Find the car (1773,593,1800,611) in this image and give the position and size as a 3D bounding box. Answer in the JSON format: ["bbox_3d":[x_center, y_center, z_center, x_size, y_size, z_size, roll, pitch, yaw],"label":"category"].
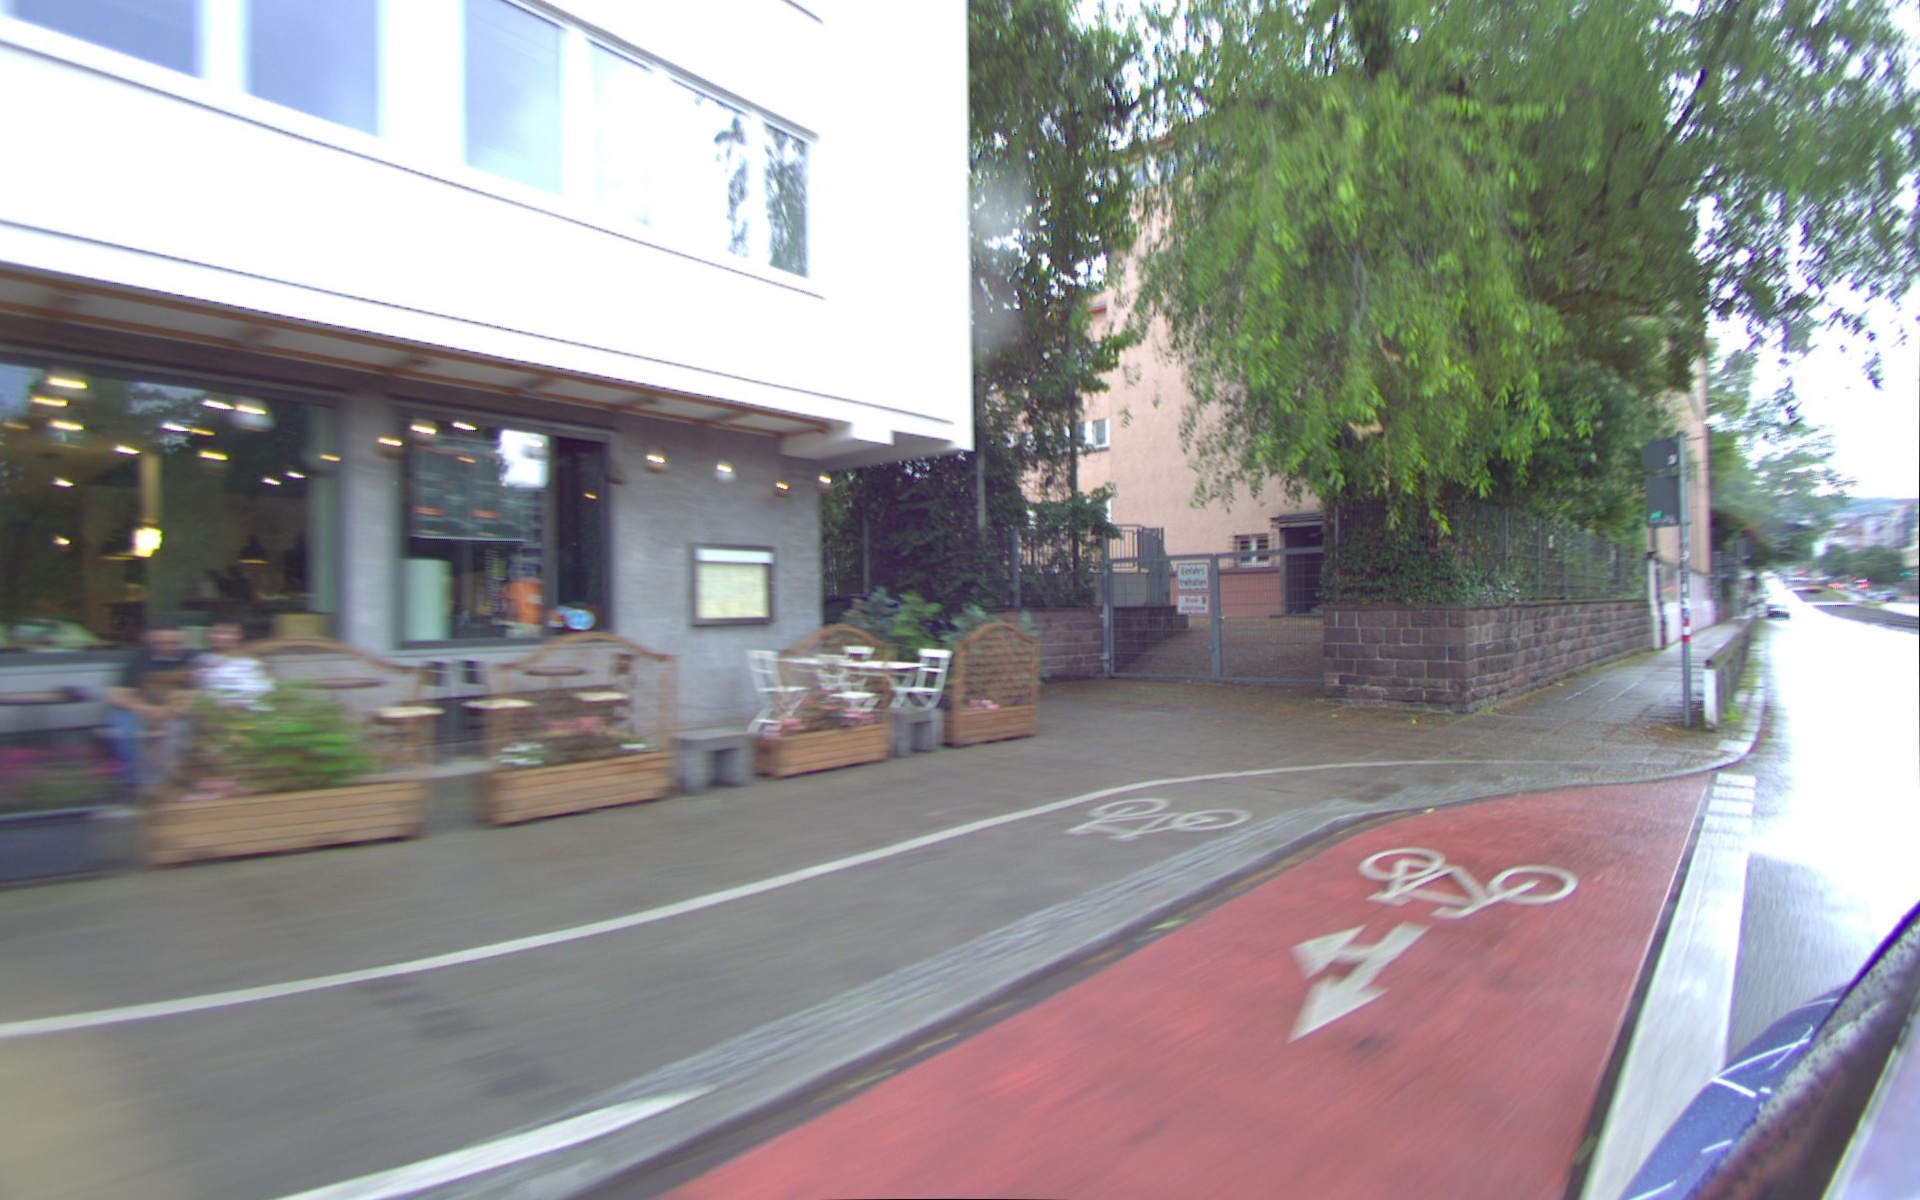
[{"bbox_3d":[76.005,0.175,93.120,1.751,1.549,4.274,-1,0,38],"label":"car"}]

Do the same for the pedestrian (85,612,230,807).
[{"bbox_3d":[-5.576,0.707,7.025,0.928,1.206,0.626,2,1,40],"label":"pedestrian"}]

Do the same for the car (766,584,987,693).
[{"bbox_3d":[-1.359,0.513,15.949,3.181,1.525,1.775,1,1,41],"label":"car"}]

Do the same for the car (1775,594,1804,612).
[{"bbox_3d":[72.669,0.240,88.665,1.779,1.549,4.187,-1,0,38],"label":"car"}]

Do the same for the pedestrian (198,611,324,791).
[{"bbox_3d":[-5.193,0.703,7.511,0.914,1.206,0.560,2,1,40],"label":"pedestrian"}]
